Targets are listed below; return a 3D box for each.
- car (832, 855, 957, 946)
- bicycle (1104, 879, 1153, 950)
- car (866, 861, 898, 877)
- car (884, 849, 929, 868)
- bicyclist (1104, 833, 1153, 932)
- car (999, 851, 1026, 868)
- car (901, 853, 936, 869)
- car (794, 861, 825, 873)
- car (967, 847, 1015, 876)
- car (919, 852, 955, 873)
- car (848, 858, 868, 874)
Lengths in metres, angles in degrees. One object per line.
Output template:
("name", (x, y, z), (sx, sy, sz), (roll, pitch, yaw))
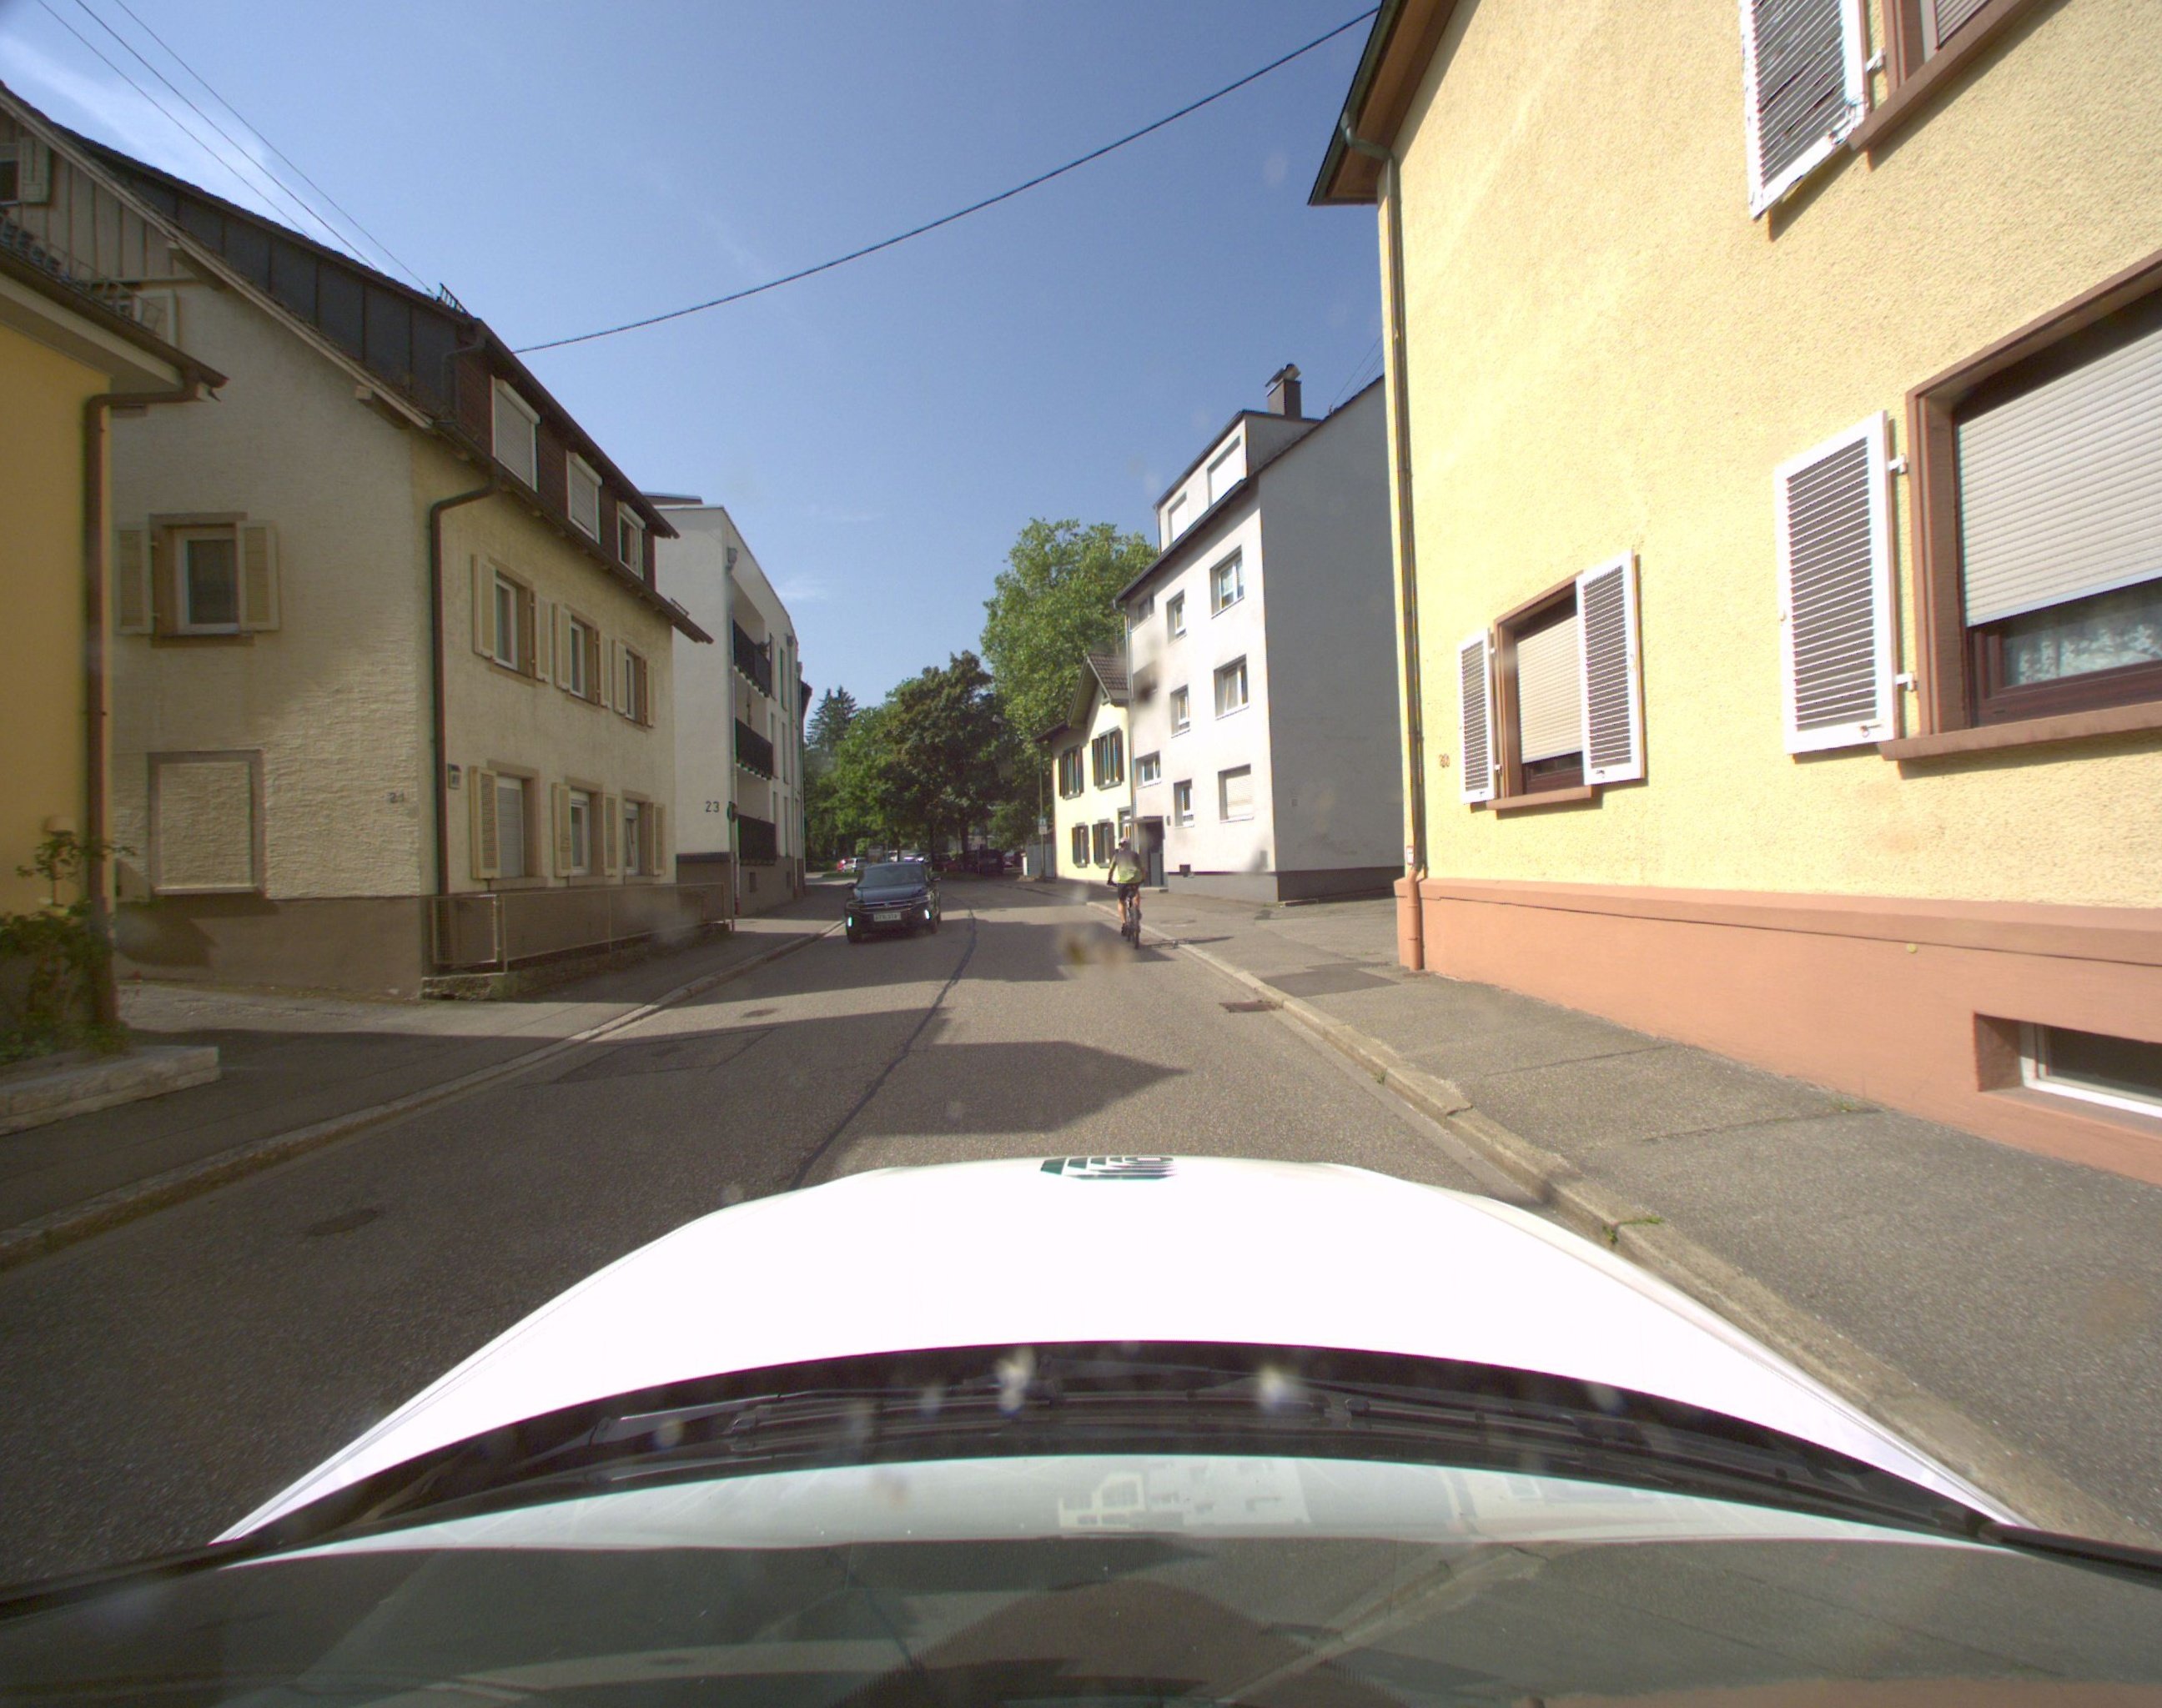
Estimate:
("car", (-3.896, 0.901, 17.695), (1.820, 1.537, 3.996), (-6, 1, -3))
("bicycle", (0.754, 0.959, 13.331), (0.696, 1.035, 1.471), (-1, 0, 0))
("car", (-18.961, 1.461, 77.700), (1.686, 1.468, 3.371), (-2, 0, -38))
("car", (-18.903, 0.460, 88.353), (1.974, 1.855, 4.731), (-2, 0, 33))
("bicyclist", (0.769, 0.458, 13.331), (0.683, 1.531, 0.715), (-3, -1, -1))
("car", (-5.730, 0.430, 67.694), (1.585, 1.257, 3.839), (-3, 0, -14))
("car", (-16.892, 0.680, 84.775), (1.795, 1.552, 4.019), (-2, 0, 19))
("car", (-36.955, 1.741, 110.827), (3.386, 1.528, 1.967), (-2, 0, 19))
("car", (-6.040, 0.452, 54.145), (1.832, 1.791, 3.965), (-3, 2, -27))
("car", (-11.533, 0.670, 65.021), (1.718, 1.542, 3.965), (-3, 2, -27))
("car", (-22.513, 1.202, 82.162), (1.748, 1.552, 3.731), (-2, 0, -17))
